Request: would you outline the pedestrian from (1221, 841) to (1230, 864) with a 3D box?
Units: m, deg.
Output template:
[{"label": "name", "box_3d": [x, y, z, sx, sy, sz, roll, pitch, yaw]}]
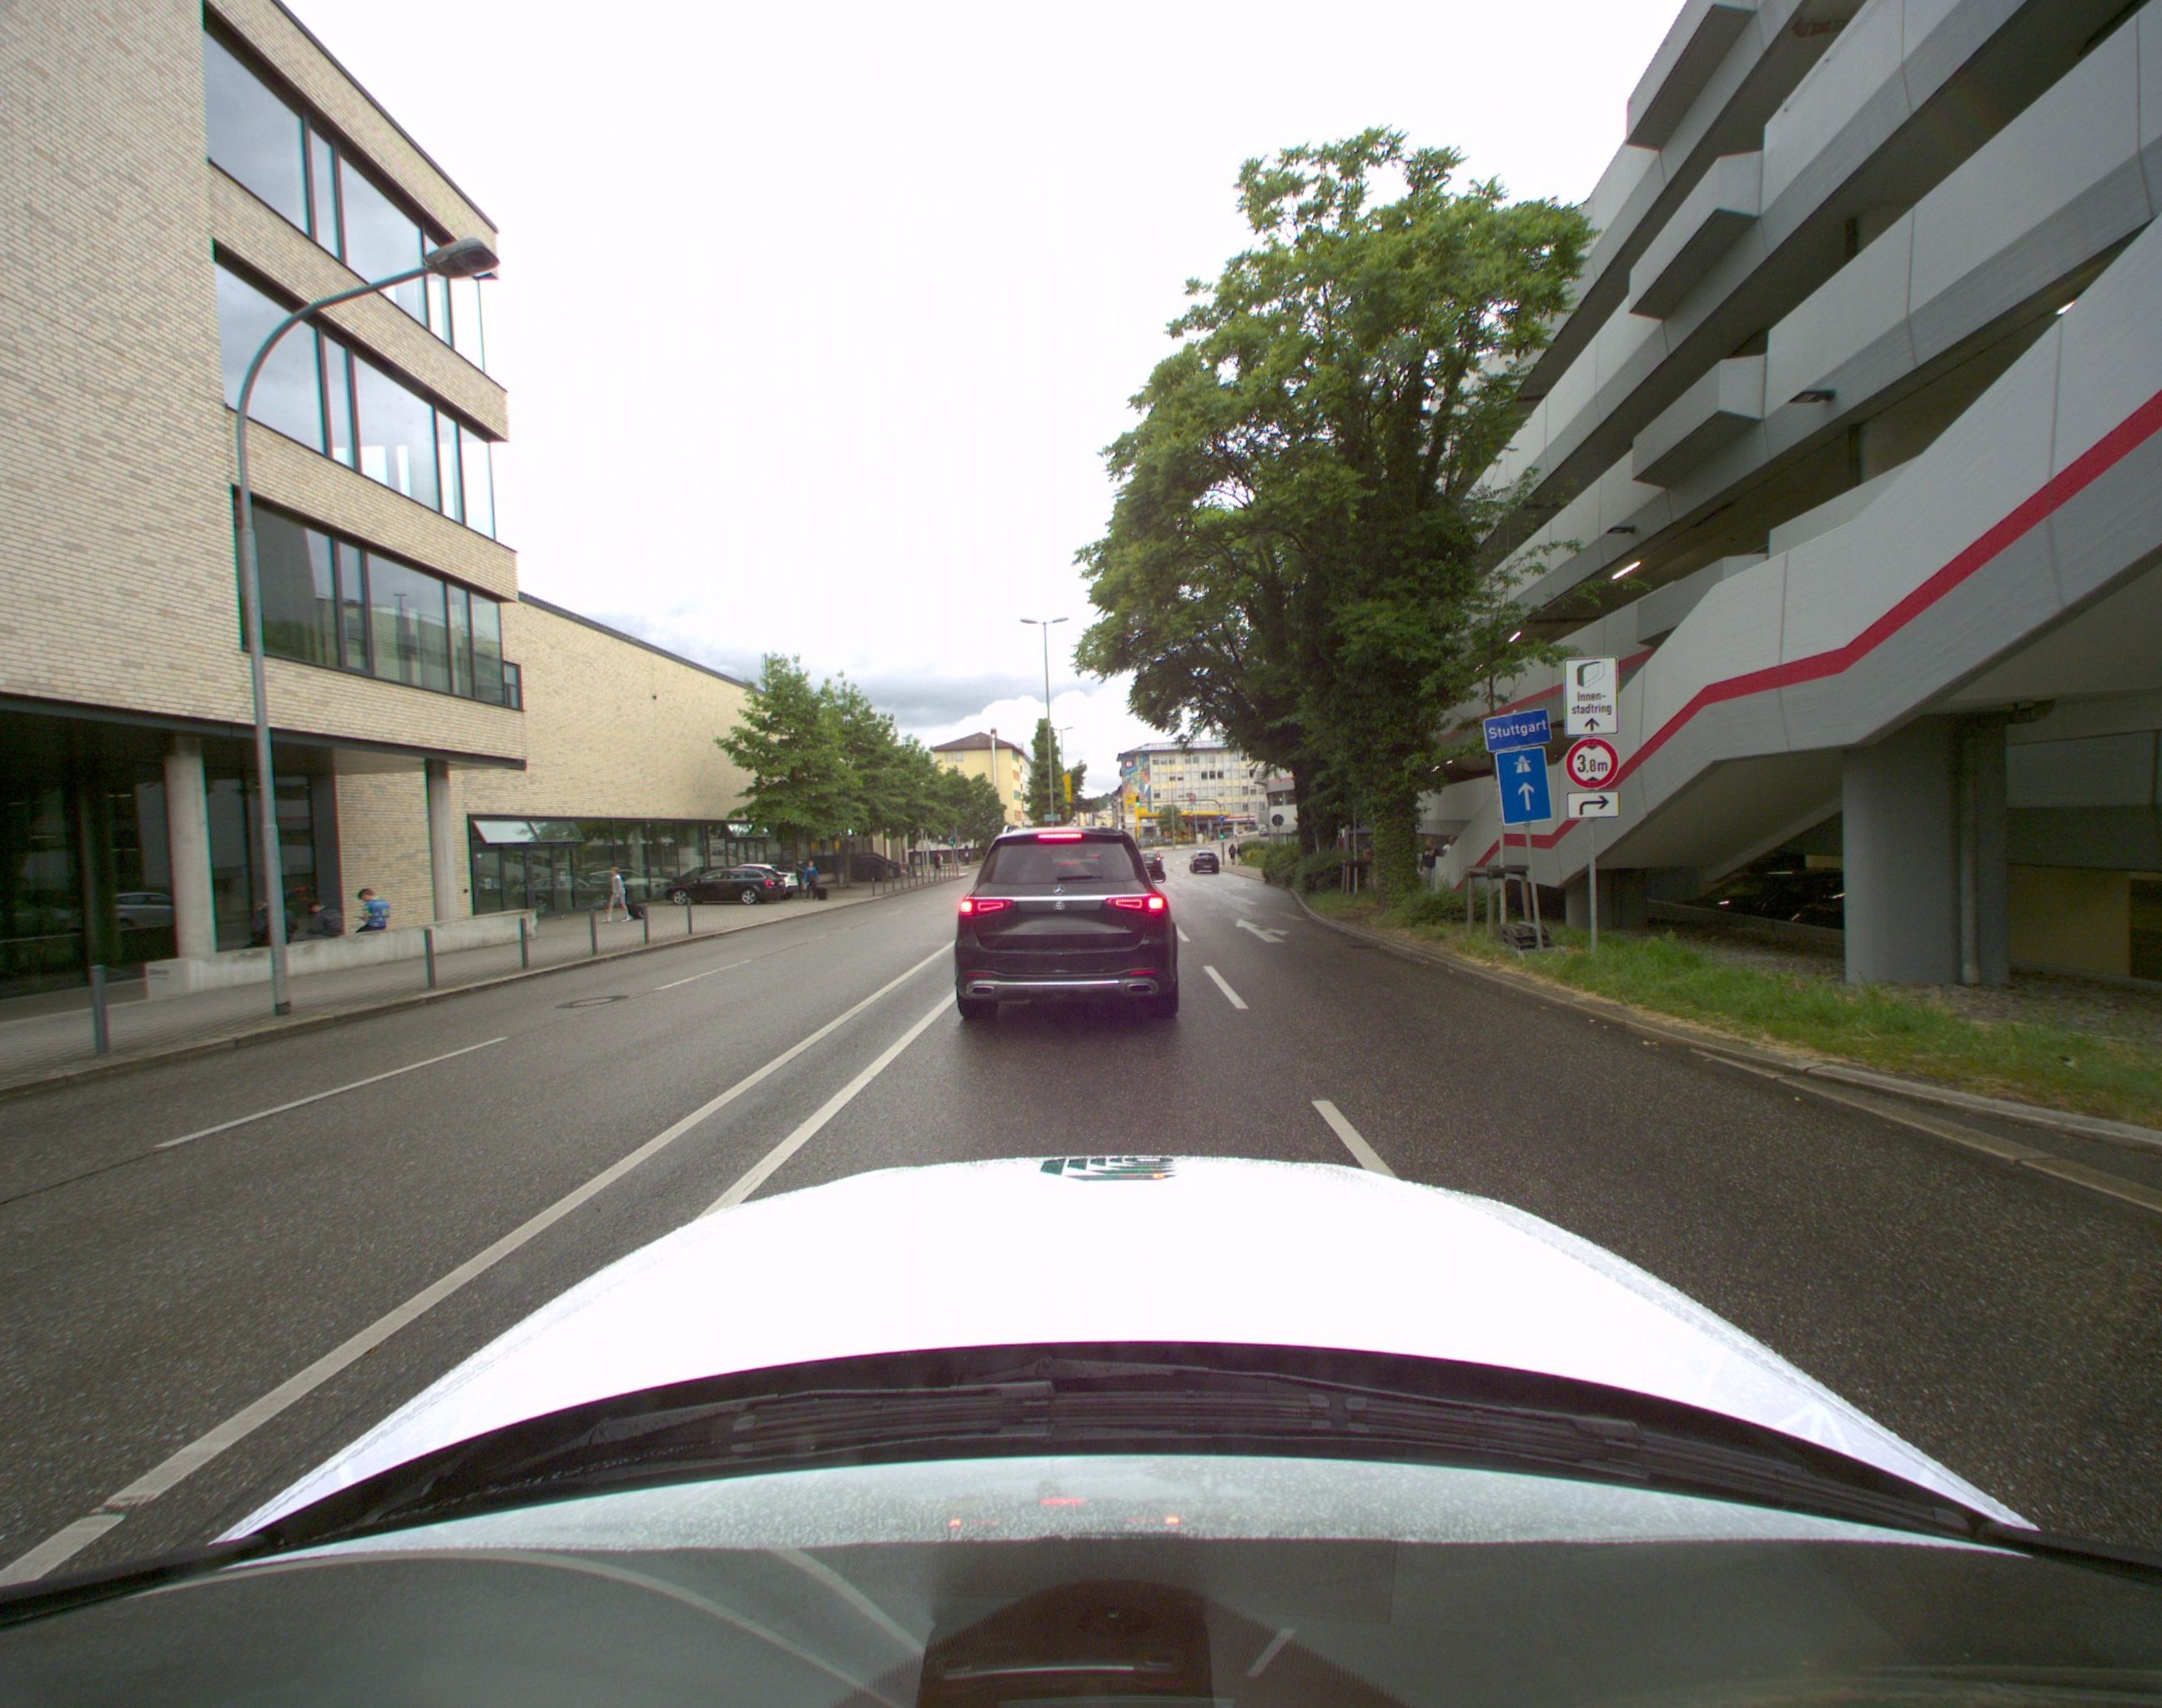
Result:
[{"label": "pedestrian", "box_3d": [12.043, -0.143, 67.855, 0.617, 1.935, 0.611, 0, -1, 6]}]

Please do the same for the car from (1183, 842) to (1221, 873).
[{"label": "car", "box_3d": [8.039, 0.251, 54.540, 1.987, 2.014, 4.000, 0, -1, 0]}]

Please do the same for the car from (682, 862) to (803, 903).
[{"label": "car", "box_3d": [-14.610, 1.207, 35.360, 4.407, 1.574, 1.998, -1, 1, -4]}]

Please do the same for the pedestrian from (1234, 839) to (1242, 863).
[{"label": "pedestrian", "box_3d": [12.585, -0.208, 65.231, 0.518, 1.911, 0.556, 0, -1, 1]}]

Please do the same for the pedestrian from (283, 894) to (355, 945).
[{"label": "pedestrian", "box_3d": [-13.521, 1.154, 14.465, 0.584, 0.845, 0.727, -1, -1, 1]}]

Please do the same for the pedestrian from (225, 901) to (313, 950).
[{"label": "pedestrian", "box_3d": [-13.498, 1.201, 13.564, 0.595, 0.786, 0.760, 0, -7, 1]}]

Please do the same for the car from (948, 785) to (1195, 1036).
[{"label": "car", "box_3d": [-0.056, 0.475, 8.588, 1.987, 2.014, 4.000, 0, -1, 0]}]

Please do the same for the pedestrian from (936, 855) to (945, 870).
[{"label": "pedestrian", "box_3d": [-13.777, 0.798, 79.952, 0.709, 1.462, 0.598, 0, -1, 0]}]

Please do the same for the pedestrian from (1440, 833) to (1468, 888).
[{"label": "pedestrian", "box_3d": [10.361, 0.191, 22.643, 0.579, 1.501, 0.505, 0, -1, 7]}]

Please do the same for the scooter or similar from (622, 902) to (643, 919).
[{"label": "scooter or similar", "box_3d": [-13.876, 1.755, 25.211, 0.279, 0.501, 0.616, 0, -1, 3]}]

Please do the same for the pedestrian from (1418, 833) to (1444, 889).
[{"label": "pedestrian", "box_3d": [9.786, 0.191, 22.771, 0.548, 1.532, 0.489, 0, -1, 8]}]

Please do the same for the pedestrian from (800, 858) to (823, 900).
[{"label": "pedestrian", "box_3d": [-11.383, 1.054, 34.369, 0.686, 1.725, 0.754, 0, 1, 0]}]

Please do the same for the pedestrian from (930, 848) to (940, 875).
[{"label": "pedestrian", "box_3d": [-11.135, 0.563, 61.951, 0.586, 2.014, 0.749, -1, -1, 0]}]

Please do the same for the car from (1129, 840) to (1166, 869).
[{"label": "car", "box_3d": [4.713, 0.060, 58.304, 1.990, 2.014, 3.993, 0, -1, -4]}]

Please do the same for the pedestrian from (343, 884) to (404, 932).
[{"label": "pedestrian", "box_3d": [-13.502, 1.018, 15.557, 0.680, 0.886, 0.523, 0, -1, -5]}]

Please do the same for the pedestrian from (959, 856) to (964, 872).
[{"label": "pedestrian", "box_3d": [-12.357, 1.001, 84.411, 0.398, 1.644, 0.567, 0, -1, 2]}]

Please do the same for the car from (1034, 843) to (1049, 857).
[{"label": "car", "box_3d": [-5.757, -0.576, 119.327, 1.987, 1.875, 5.141, 0, -1, 0]}]

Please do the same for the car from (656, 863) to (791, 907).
[{"label": "car", "box_3d": [-14.202, 1.206, 32.580, 4.461, 1.587, 1.997, -1, 0, -5]}]

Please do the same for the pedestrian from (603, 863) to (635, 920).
[{"label": "pedestrian", "box_3d": [-13.984, 1.131, 24.647, 0.673, 1.697, 0.479, 0, 0, 1]}]
